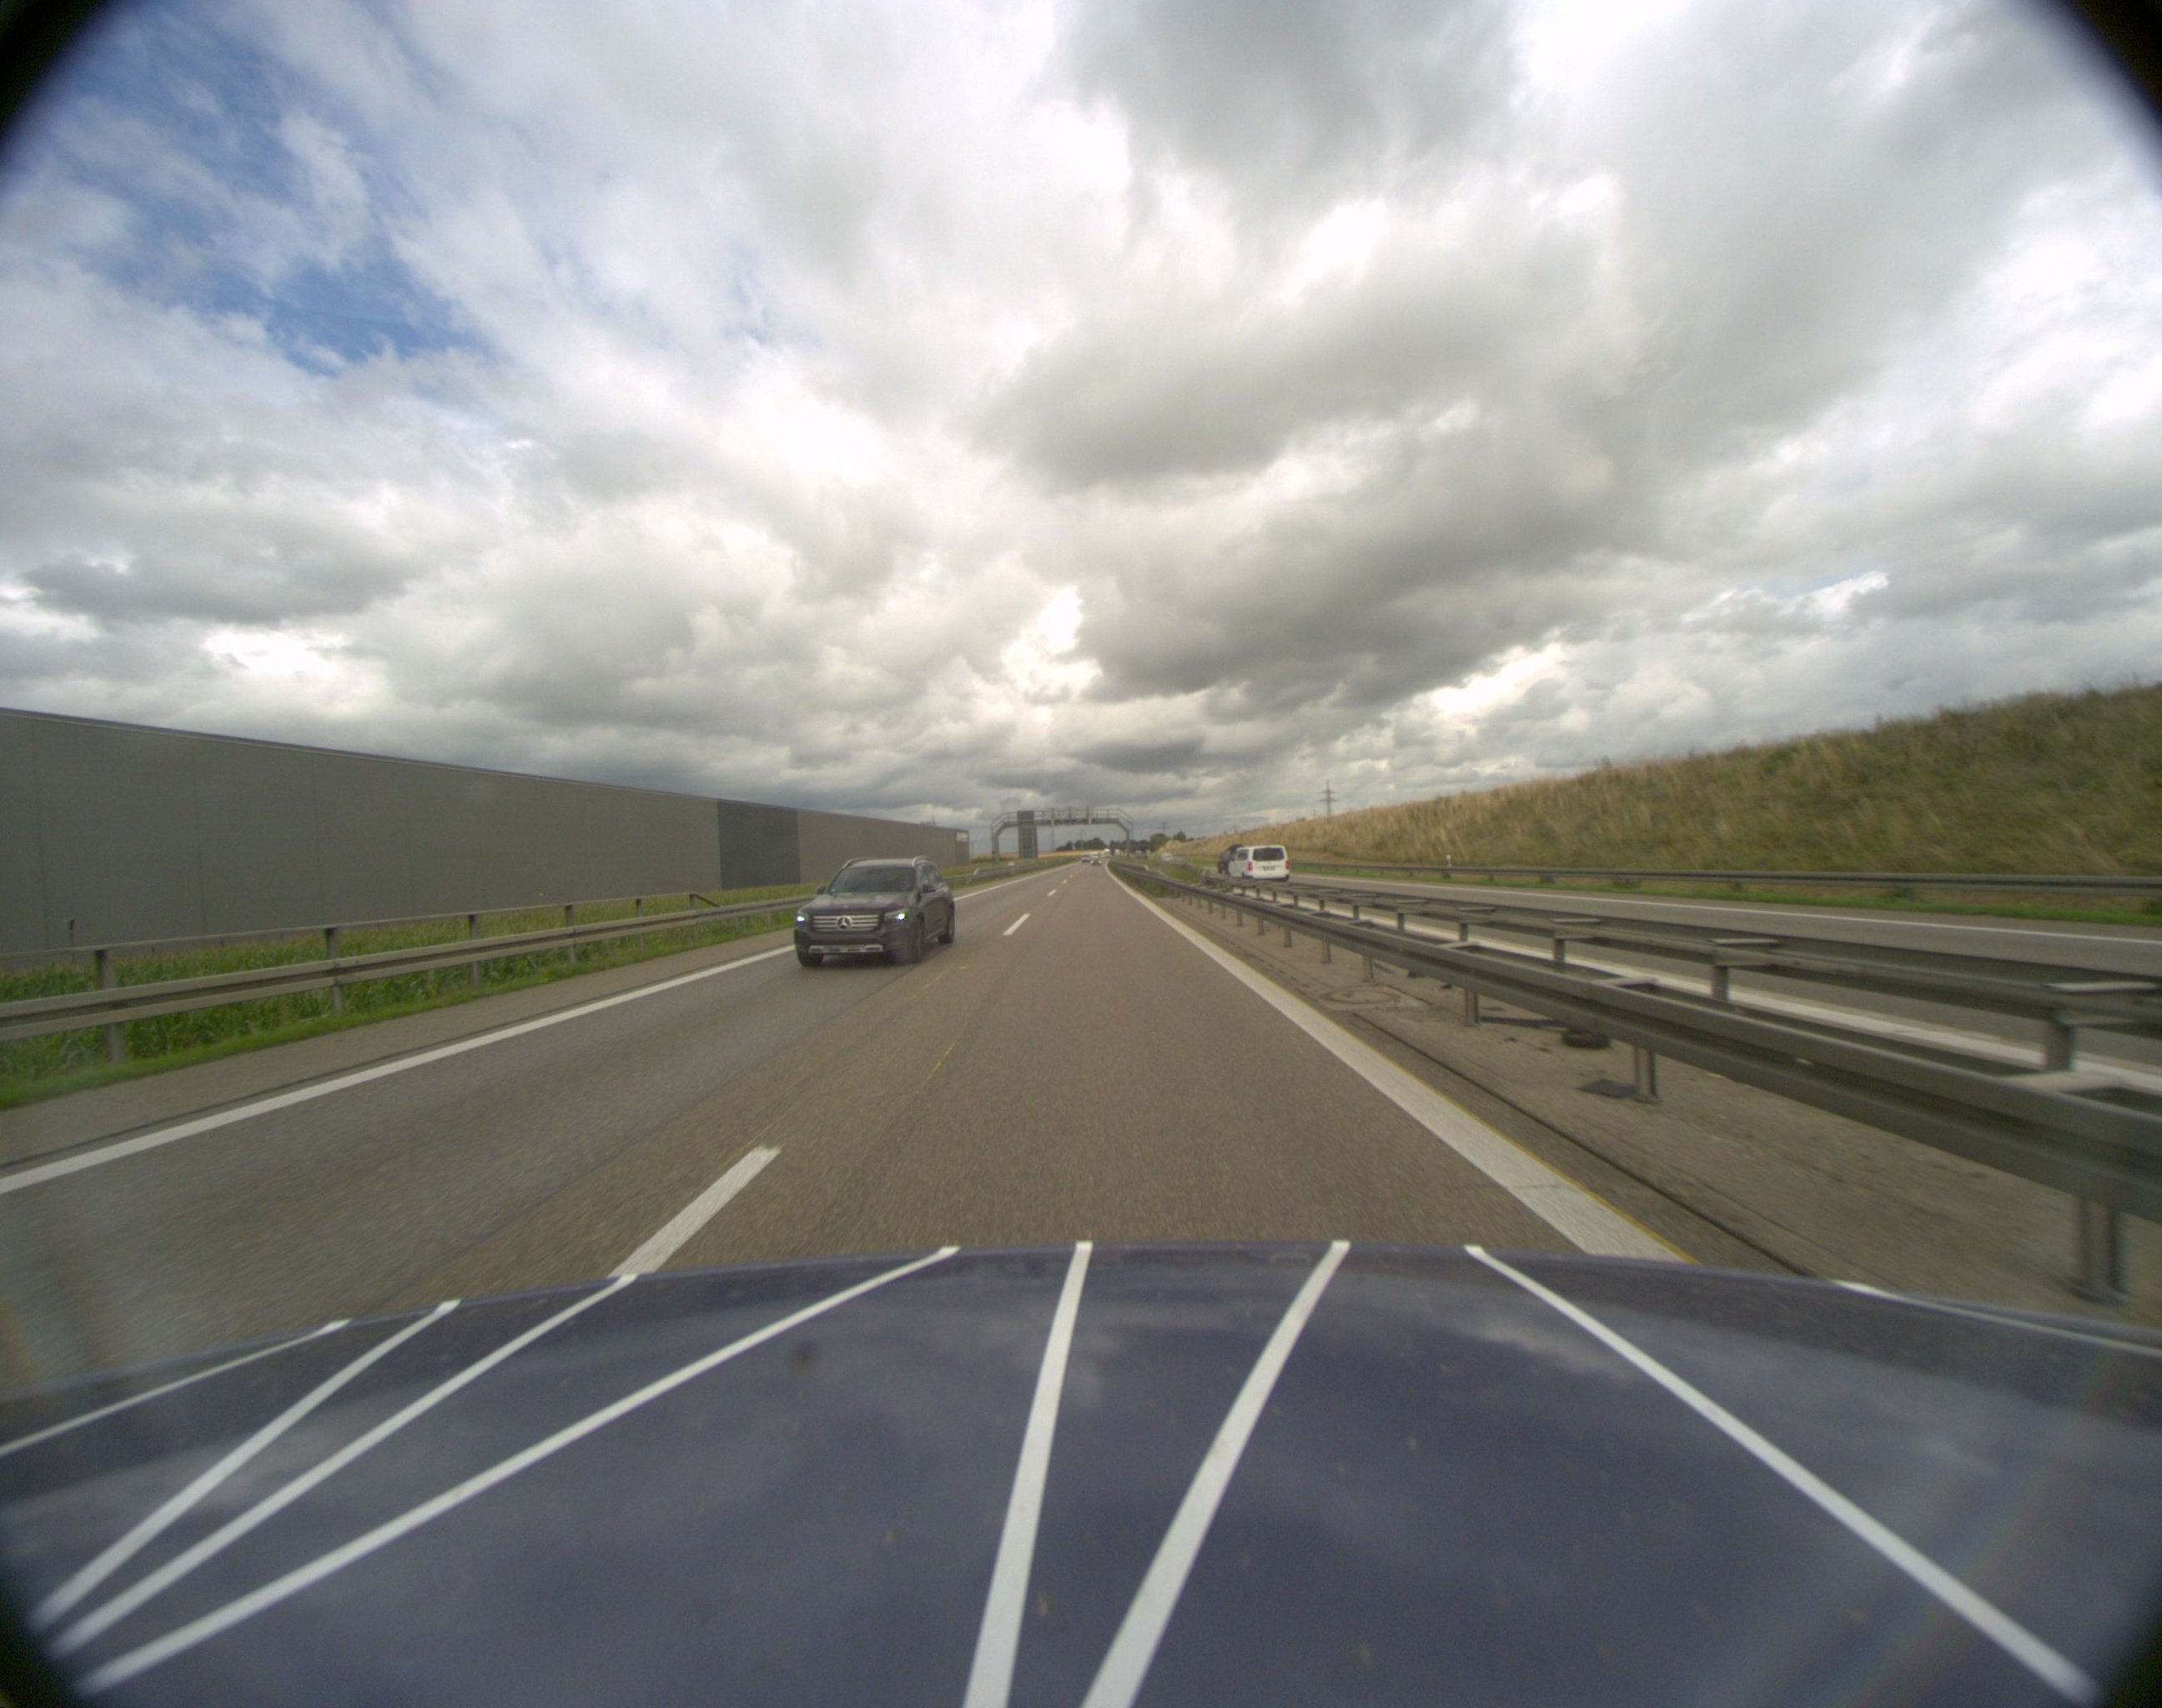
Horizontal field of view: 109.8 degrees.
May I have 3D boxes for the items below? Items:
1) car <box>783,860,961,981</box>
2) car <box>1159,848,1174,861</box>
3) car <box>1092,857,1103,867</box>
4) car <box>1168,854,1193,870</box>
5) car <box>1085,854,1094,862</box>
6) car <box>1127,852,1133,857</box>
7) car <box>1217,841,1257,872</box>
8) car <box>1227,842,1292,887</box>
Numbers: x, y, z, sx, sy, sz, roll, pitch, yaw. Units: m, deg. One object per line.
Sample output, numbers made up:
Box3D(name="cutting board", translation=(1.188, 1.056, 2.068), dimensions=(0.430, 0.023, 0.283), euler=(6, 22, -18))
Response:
Box3D(name="car", translation=(-3.373, 0.983, 13.186), dimensions=(1.838, 1.600, 4.359), euler=(-2, 1, 0))
Box3D(name="car", translation=(14.258, 0.048, 126.573), dimensions=(1.998, 2.002, 4.708), euler=(-2, 0, 1))
Box3D(name="car", translation=(3.229, 1.541, 145.185), dimensions=(1.998, 1.695, 4.663), euler=(-4, -1, 2))
Box3D(name="car", translation=(9.729, 0.741, 74.546), dimensions=(1.816, 1.394, 4.405), euler=(-2, 1, 1))
Box3D(name="car", translation=(2.249, 1.057, 201.657), dimensions=(1.998, 1.812, 4.343), euler=(-2, 0, 4))
Box3D(name="car", translation=(15.646, 0.100, 244.605), dimensions=(1.741, 1.581, 4.000), euler=(-2, 1, 1))
Box3D(name="car", translation=(12.057, 0.177, 59.255), dimensions=(1.998, 2.229, 5.718), euler=(-2, 1, 1))
Box3D(name="car", translation=(8.283, 0.421, 35.715), dimensions=(1.832, 1.874, 5.418), euler=(-2, 1, 1))
